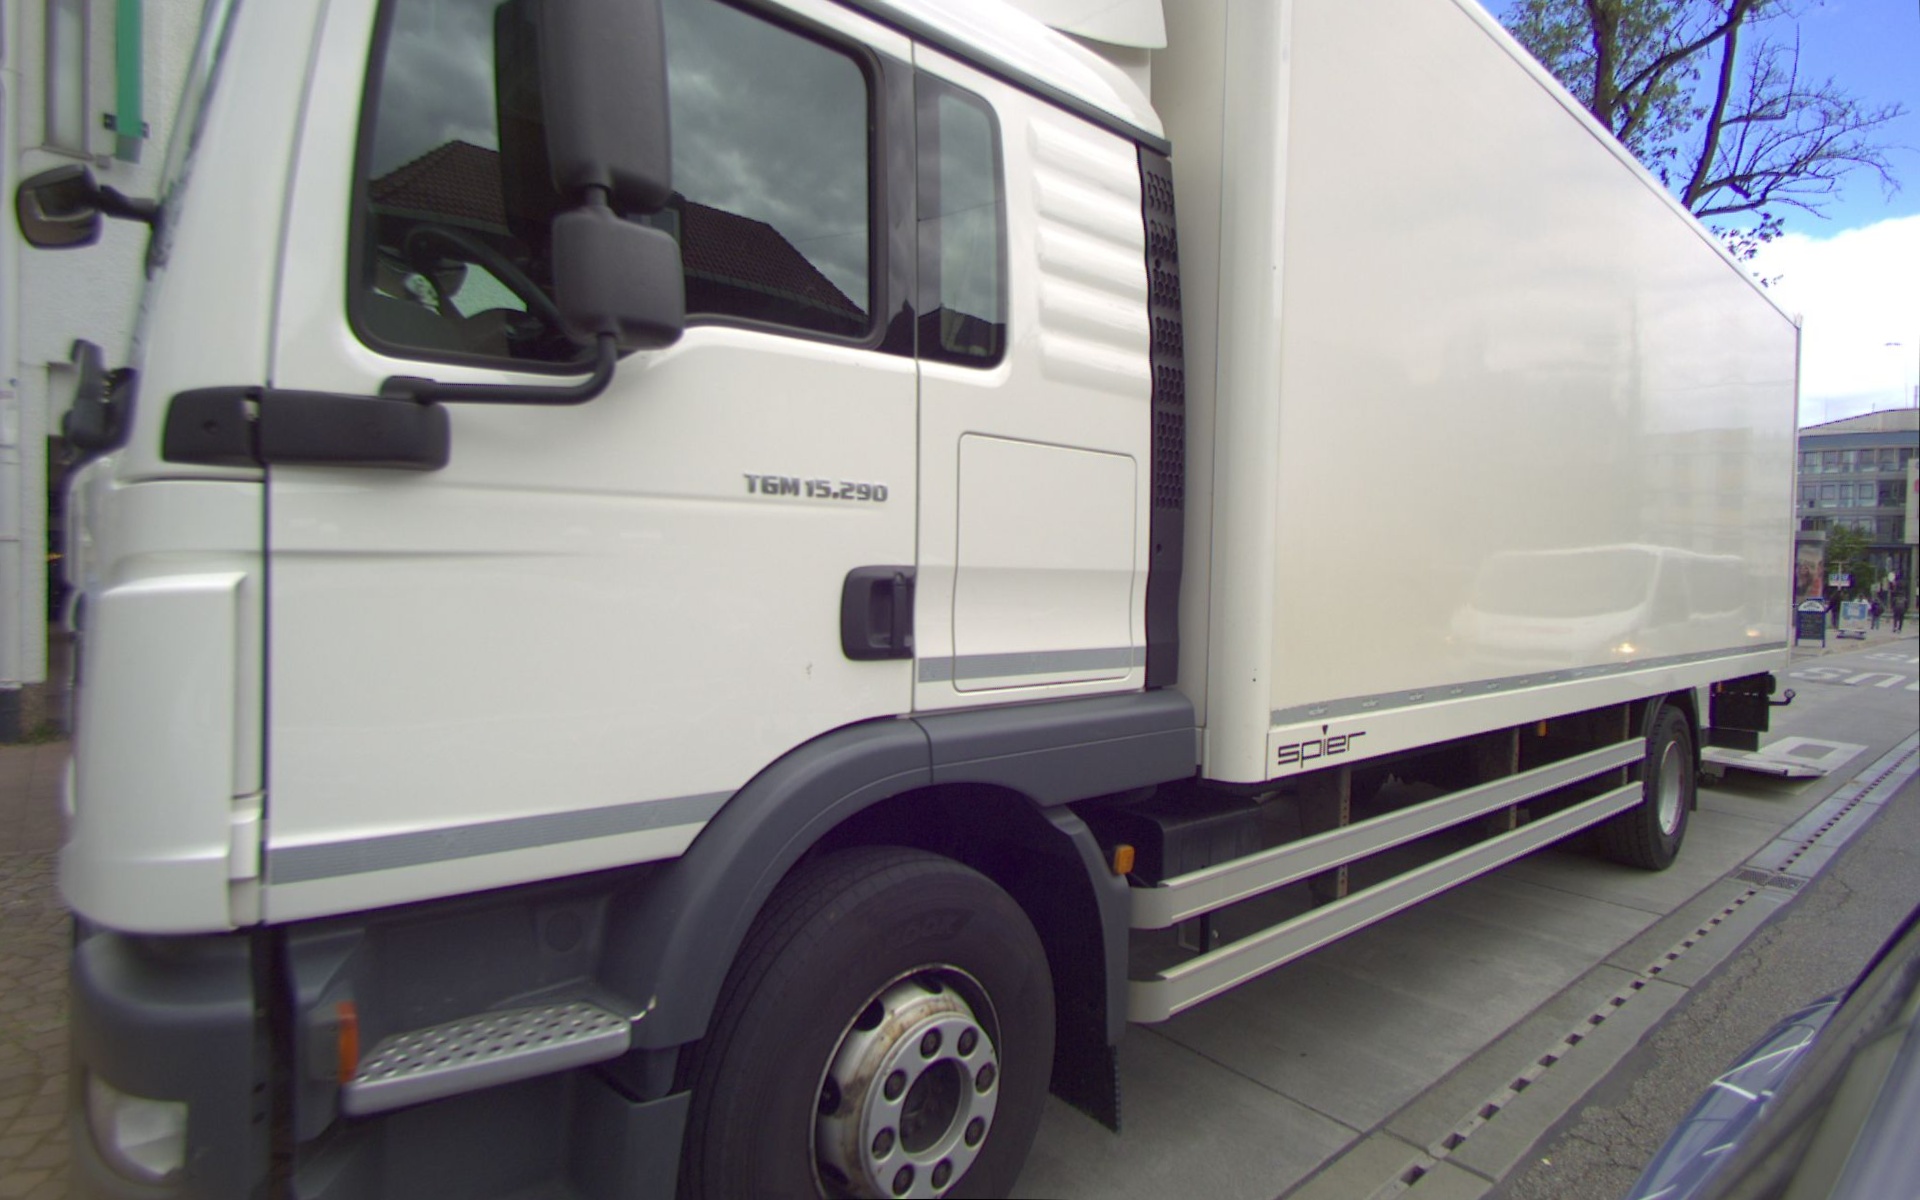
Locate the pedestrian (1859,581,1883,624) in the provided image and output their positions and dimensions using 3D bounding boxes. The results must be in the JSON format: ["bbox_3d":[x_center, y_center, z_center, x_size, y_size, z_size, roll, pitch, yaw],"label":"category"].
[{"bbox_3d":[35.617,0.100,39.560,0.605,1.654,0.613,-1,3,-44],"label":"pedestrian"}]

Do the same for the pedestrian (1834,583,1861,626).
[{"bbox_3d":[35.159,0.179,40.088,0.605,1.654,0.719,-1,3,-44],"label":"pedestrian"}]

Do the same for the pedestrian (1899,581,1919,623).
[{"bbox_3d":[39.122,0.072,41.605,0.604,1.698,0.613,1,2,-39],"label":"pedestrian"}]

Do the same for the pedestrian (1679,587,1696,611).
[{"bbox_3d":[38.188,-0.052,53.141,0.578,1.236,0.613,1,-2,-43],"label":"pedestrian"}]

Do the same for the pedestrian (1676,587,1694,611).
[{"bbox_3d":[37.760,-0.051,52.691,0.578,1.235,0.614,1,2,-43],"label":"pedestrian"}]

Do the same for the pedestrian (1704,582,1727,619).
[{"bbox_3d":[34.522,0.009,46.256,0.787,1.655,0.667,1,1,-44],"label":"pedestrian"}]

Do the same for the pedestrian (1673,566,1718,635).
[{"bbox_3d":[19.633,-0.006,27.002,0.795,1.762,0.770,5,5,43],"label":"pedestrian"}]

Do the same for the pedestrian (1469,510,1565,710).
[{"bbox_3d":[5.267,0.073,9.568,0.578,1.801,0.613,-1,3,-44],"label":"pedestrian"}]

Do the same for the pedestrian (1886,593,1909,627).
[{"bbox_3d":[46.330,0.504,50.010,0.838,1.655,0.689,1,1,-42],"label":"pedestrian"}]

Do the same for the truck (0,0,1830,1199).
[{"bbox_3d":[1.763,-0.538,5.130,9.597,3.605,2.693,0,2,-42],"label":"truck"}]
